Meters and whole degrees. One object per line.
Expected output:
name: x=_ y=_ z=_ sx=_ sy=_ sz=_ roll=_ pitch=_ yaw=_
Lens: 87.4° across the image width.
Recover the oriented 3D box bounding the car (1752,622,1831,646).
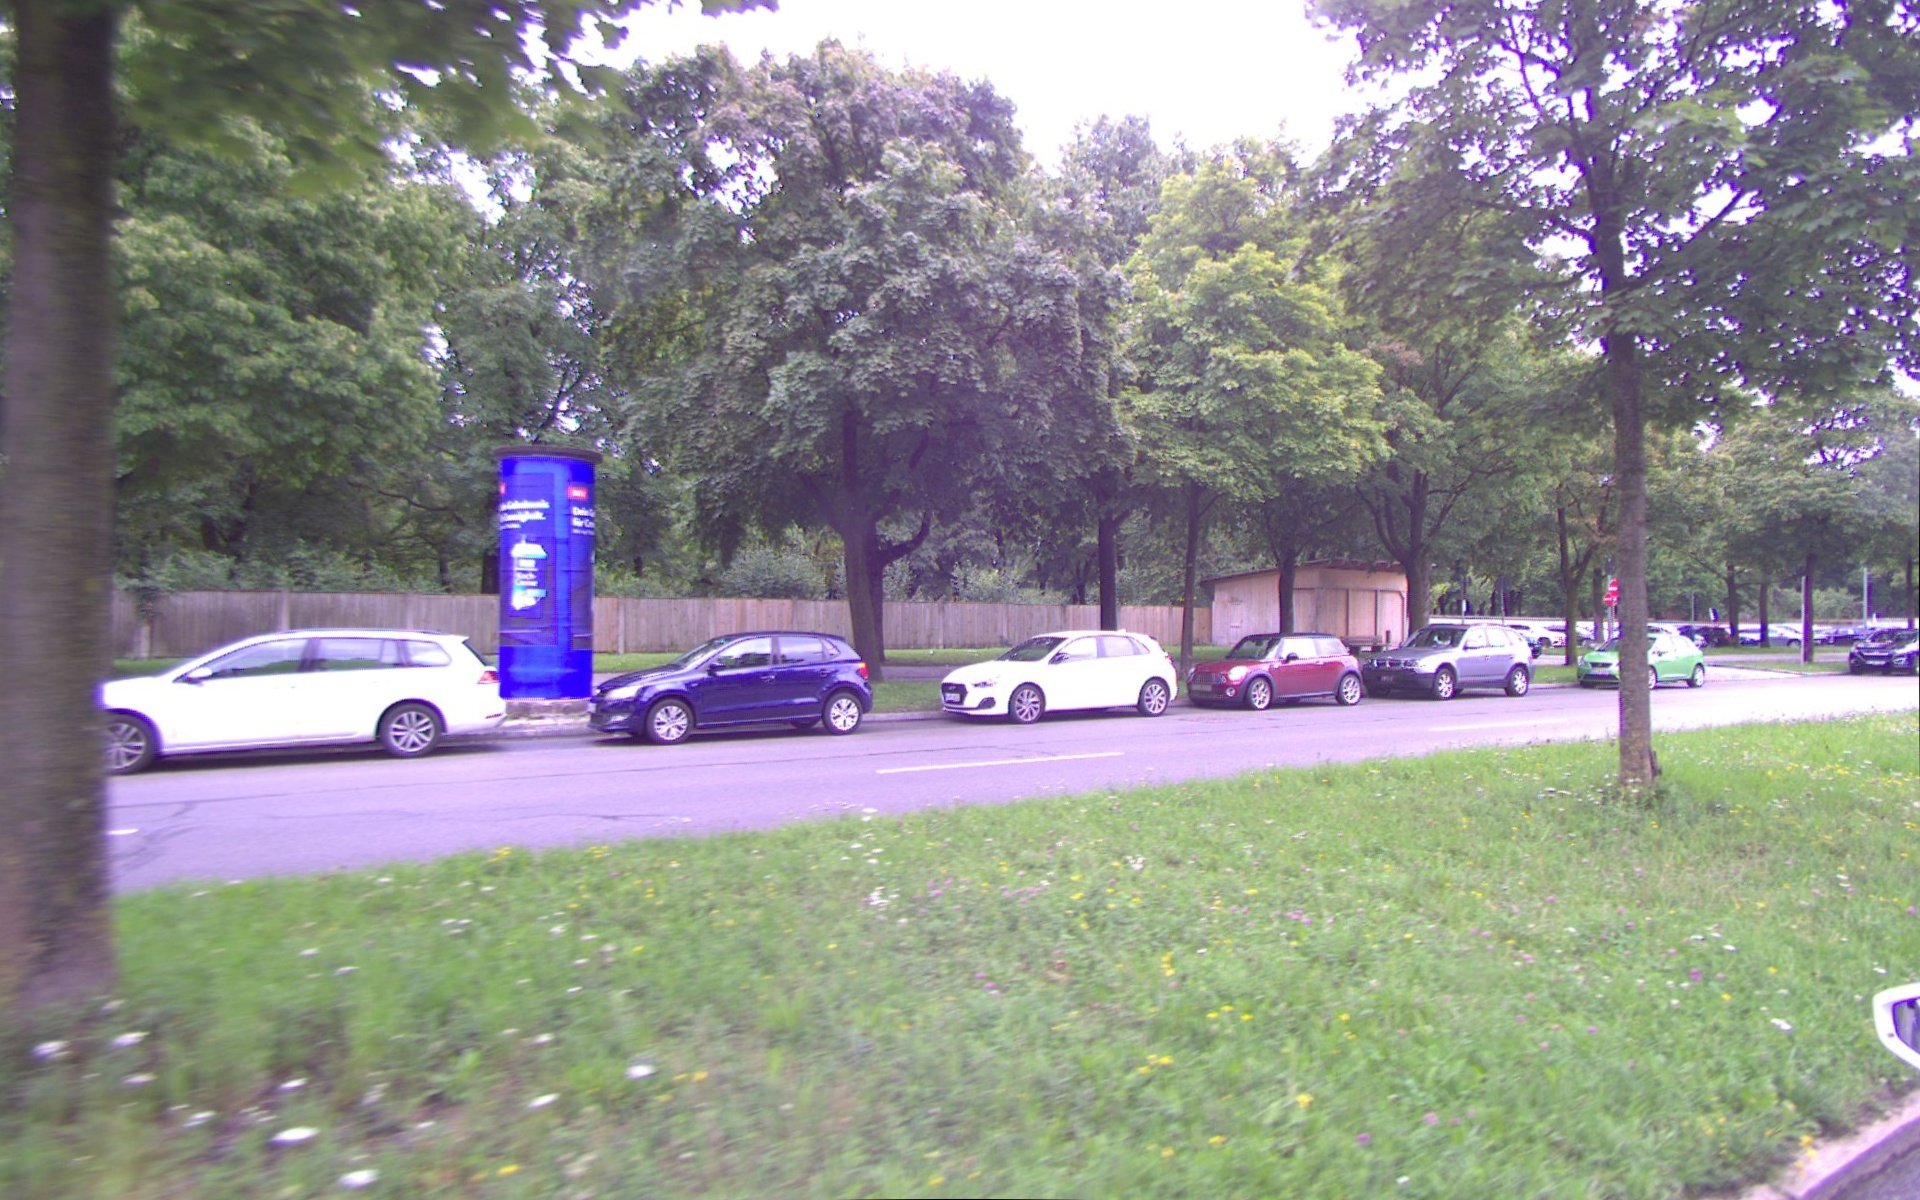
car: x=56.247 y=2.295 z=67.983 sx=1.656 sy=1.465 sz=3.841 roll=1 pitch=0 yaw=-34

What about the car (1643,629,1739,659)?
car: x=39.293 y=2.336 z=54.055 sx=1.656 sy=1.465 sz=3.841 roll=1 pitch=0 yaw=-34

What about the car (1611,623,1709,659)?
car: x=36.762 y=2.133 z=52.795 sx=1.656 sy=1.740 sz=3.893 roll=1 pitch=0 yaw=-34

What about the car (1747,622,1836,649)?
car: x=50.230 y=2.151 z=60.726 sx=1.656 sy=1.465 sz=3.841 roll=1 pitch=0 yaw=-34

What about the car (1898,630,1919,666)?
car: x=37.194 y=1.827 z=38.041 sx=3.342 sy=1.329 sz=1.583 roll=1 pitch=0 yaw=-31

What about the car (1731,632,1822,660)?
car: x=47.720 y=2.666 z=58.747 sx=1.656 sy=1.465 sz=3.841 roll=1 pitch=0 yaw=-34

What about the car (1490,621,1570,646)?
car: x=38.351 y=2.228 z=67.716 sx=1.652 sy=1.496 sz=4.487 roll=2 pitch=0 yaw=-28

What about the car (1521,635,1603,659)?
car: x=41.721 y=3.224 z=69.722 sx=1.652 sy=1.465 sz=4.671 roll=1 pitch=0 yaw=-28

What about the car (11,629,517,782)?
car: x=-7.655 y=1.083 z=11.608 sx=4.480 sy=1.469 sz=1.754 roll=1 pitch=-2 yaw=-31

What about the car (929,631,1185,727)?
car: x=1.699 y=1.271 z=17.136 sx=4.228 sy=1.463 sz=1.600 roll=1 pitch=-2 yaw=-30

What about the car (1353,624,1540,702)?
car: x=10.983 y=1.369 z=22.607 sx=4.320 sy=1.607 sz=1.683 roll=1 pitch=-2 yaw=-31

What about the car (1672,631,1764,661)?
car: x=42.770 y=2.568 z=56.761 sx=1.656 sy=1.465 sz=3.841 roll=1 pitch=0 yaw=-34

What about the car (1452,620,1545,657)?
car: x=24.024 y=1.702 z=45.008 sx=1.922 sy=1.465 sz=4.421 roll=2 pitch=0 yaw=2

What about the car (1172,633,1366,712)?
car: x=6.070 y=1.363 z=19.677 sx=3.585 sy=1.415 sz=1.584 roll=1 pitch=-2 yaw=-28

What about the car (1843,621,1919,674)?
car: x=33.004 y=1.652 z=35.416 sx=3.834 sy=1.764 sz=1.708 roll=1 pitch=0 yaw=-31

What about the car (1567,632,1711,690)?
car: x=18.094 y=1.589 z=26.756 sx=3.829 sy=1.428 sz=1.542 roll=1 pitch=-2 yaw=-28

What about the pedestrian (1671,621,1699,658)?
pedestrian: x=31.208 y=1.693 z=43.237 sx=0.712 sy=1.554 sz=0.724 roll=1 pitch=0 yaw=-29

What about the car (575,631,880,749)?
car: x=-3.178 y=1.160 z=13.974 sx=3.855 sy=1.436 sz=1.604 roll=1 pitch=-2 yaw=-32
